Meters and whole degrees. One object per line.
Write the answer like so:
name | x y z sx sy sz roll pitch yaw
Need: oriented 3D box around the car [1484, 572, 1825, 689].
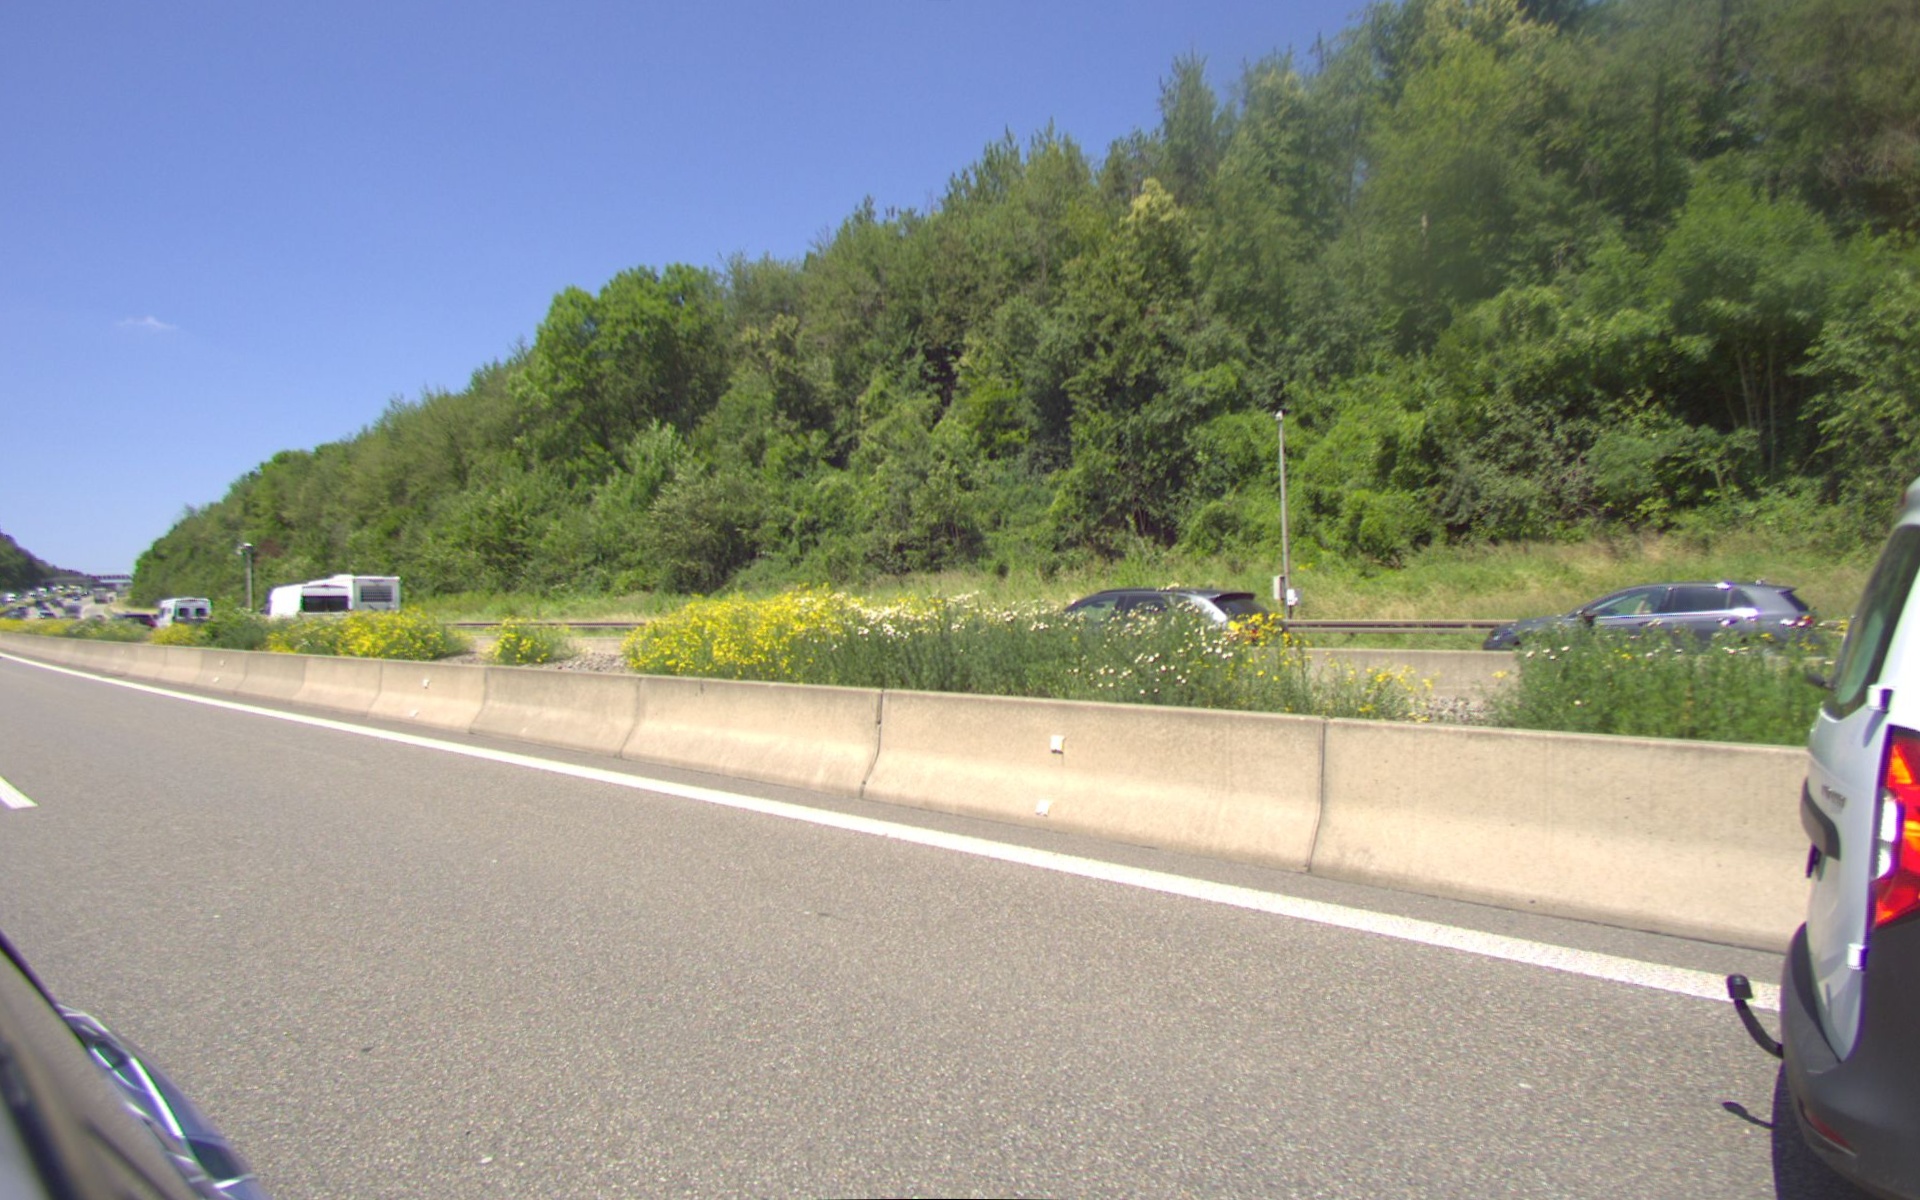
car | 10.159 0.386 14.965 3.998 1.502 1.757 0 0 41

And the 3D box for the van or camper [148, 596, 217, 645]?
van or camper | -48.114 1.261 62.579 6.554 2.921 2.234 -1 -1 42

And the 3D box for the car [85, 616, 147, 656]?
car | -43.703 1.827 52.382 4.000 1.940 1.972 -1 0 43

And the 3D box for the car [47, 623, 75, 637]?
car | -101.225 3.361 113.918 4.272 1.599 1.972 -1 -1 43

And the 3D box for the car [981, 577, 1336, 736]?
car | 2.356 0.589 12.647 4.079 1.677 1.689 0 0 41

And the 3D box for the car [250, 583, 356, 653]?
car | -27.457 0.754 42.206 5.743 2.762 2.178 -2 -1 41

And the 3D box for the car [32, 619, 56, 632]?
car | -124.567 3.485 137.589 4.162 1.602 1.972 0 0 42

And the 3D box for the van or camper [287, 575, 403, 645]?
van or camper | -31.795 0.451 52.114 8.998 3.342 2.513 0 0 41

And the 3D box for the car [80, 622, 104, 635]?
car | -107.915 3.553 125.785 3.999 1.467 1.769 0 0 42

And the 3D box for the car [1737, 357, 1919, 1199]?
car | 3.860 0.448 1.120 4.671 1.826 1.747 -1 -1 41

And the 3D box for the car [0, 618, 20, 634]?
car | -128.442 3.474 136.730 4.002 2.029 1.971 0 0 44

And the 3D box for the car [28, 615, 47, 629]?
car | -147.111 3.527 161.405 4.570 2.029 1.971 0 0 45

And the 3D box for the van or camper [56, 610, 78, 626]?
van or camper | -151.029 2.954 171.121 6.934 2.579 2.162 0 0 44
